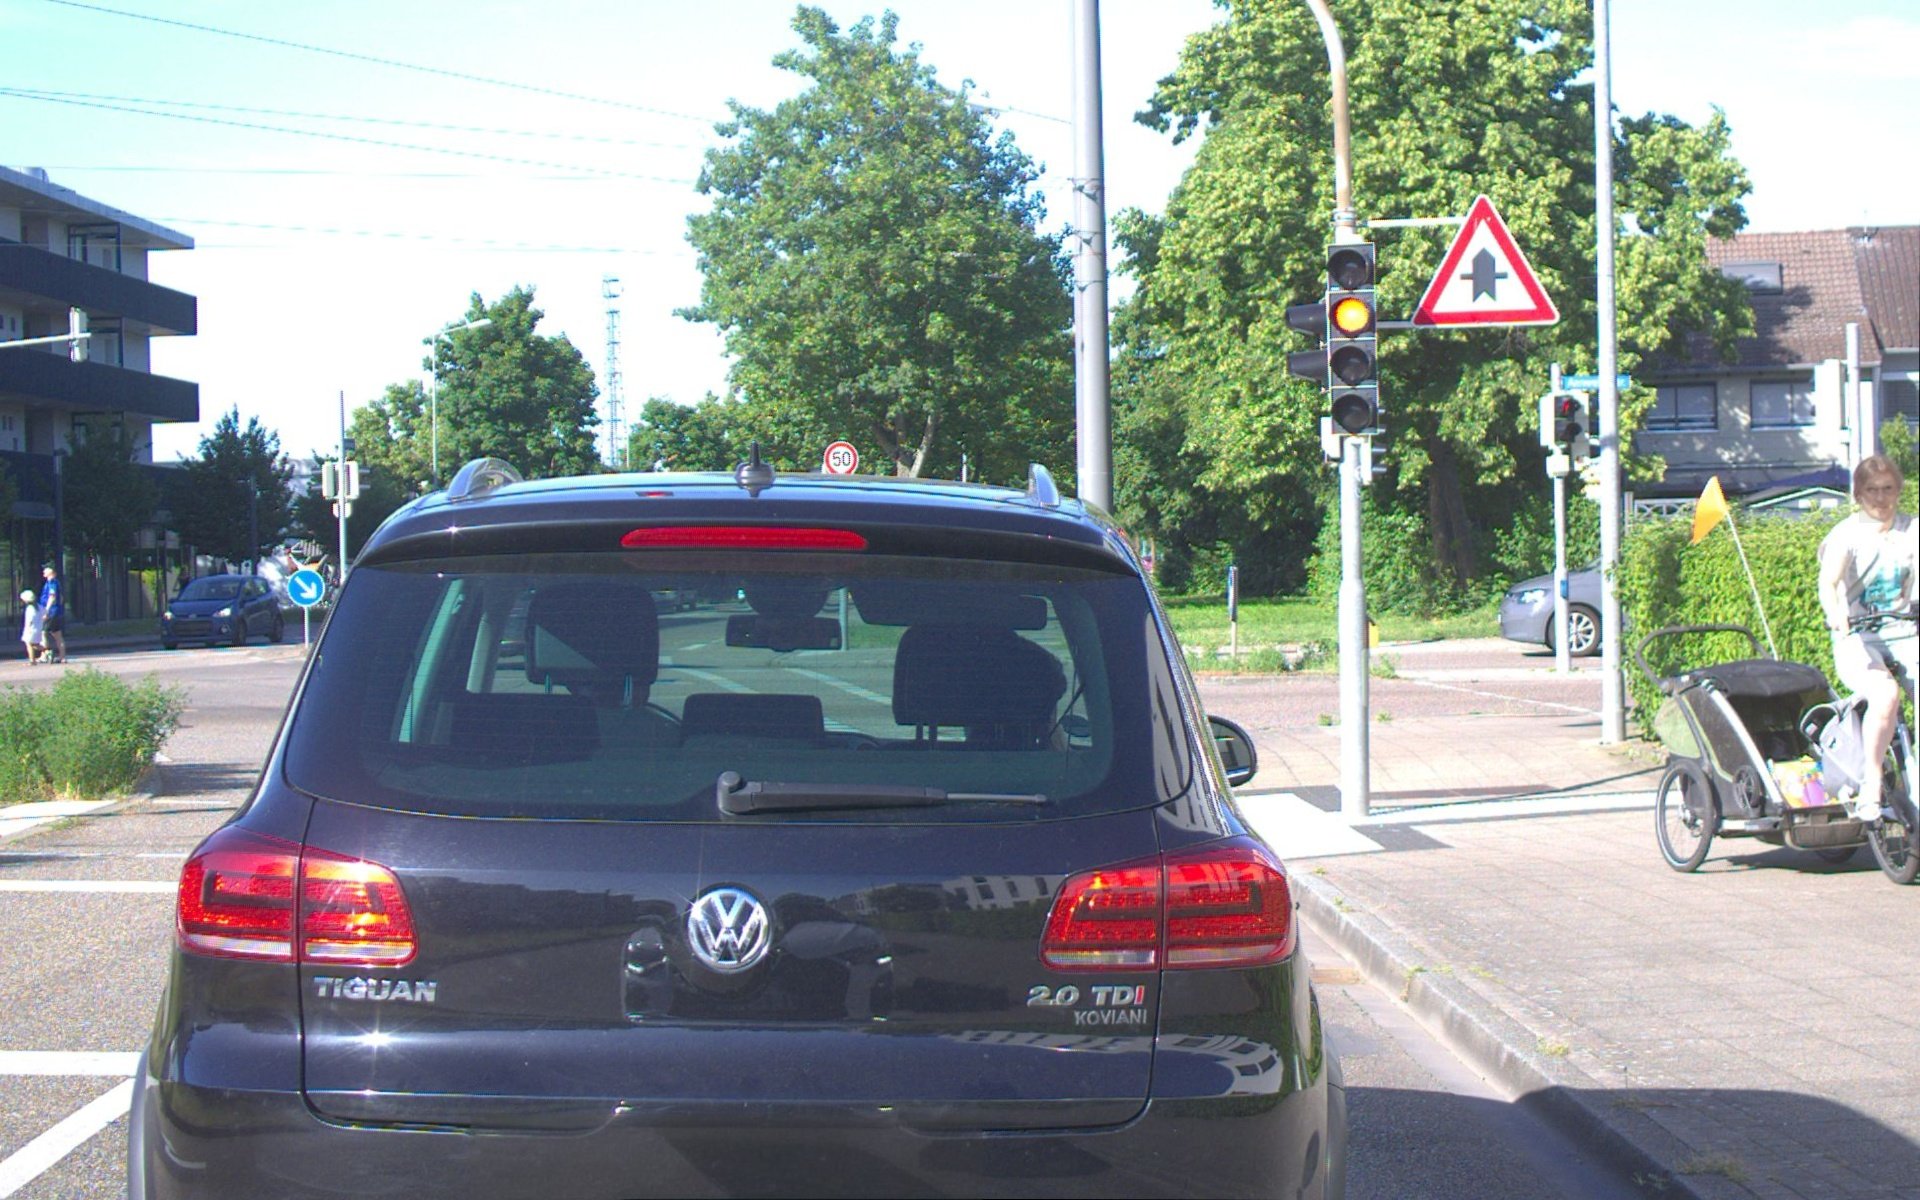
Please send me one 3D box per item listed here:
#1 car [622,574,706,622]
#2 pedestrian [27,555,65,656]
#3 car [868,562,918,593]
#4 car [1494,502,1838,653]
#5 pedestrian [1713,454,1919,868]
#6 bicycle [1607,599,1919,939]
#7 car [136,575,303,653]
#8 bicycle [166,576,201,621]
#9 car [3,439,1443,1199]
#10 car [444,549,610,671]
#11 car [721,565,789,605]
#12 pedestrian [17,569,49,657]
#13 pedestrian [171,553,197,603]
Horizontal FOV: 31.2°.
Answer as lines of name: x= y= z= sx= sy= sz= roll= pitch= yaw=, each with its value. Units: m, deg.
car: x=-10.035 y=-0.089 z=116.800 sx=1.994 sy=1.569 sz=4.338 roll=1 pitch=1 yaw=7
pedestrian: x=-15.882 y=0.099 z=59.737 sx=0.543 sy=1.738 sz=0.518 roll=1 pitch=0 yaw=-6
car: x=-3.497 y=-1.201 z=179.517 sx=1.994 sy=1.569 sz=4.338 roll=1 pitch=1 yaw=7
car: x=8.954 y=-0.287 z=43.879 sx=3.987 sy=1.830 sz=2.000 roll=1 pitch=0 yaw=2
pedestrian: x=3.618 y=0.224 z=13.739 sx=0.910 sy=1.588 sz=0.855 roll=-2 pitch=1 yaw=-8
bicycle: x=3.603 y=0.609 z=13.973 sx=0.928 sy=1.169 sz=3.126 roll=-2 pitch=1 yaw=-8
car: x=-15.643 y=0.273 z=72.849 sx=1.994 sy=1.569 sz=4.337 roll=1 pitch=1 yaw=9
bicycle: x=-23.743 y=-0.049 z=105.086 sx=0.630 sy=1.327 sz=1.913 roll=1 pitch=1 yaw=0
car: x=-0.336 y=0.598 z=6.499 sx=1.869 sy=1.632 sz=4.000 roll=1 pitch=1 yaw=-1
car: x=-6.277 y=0.120 z=50.241 sx=1.993 sy=1.678 sz=4.000 roll=1 pitch=1 yaw=-1
car: x=-8.399 y=-0.625 z=141.149 sx=1.994 sy=1.569 sz=4.338 roll=1 pitch=1 yaw=7
pedestrian: x=-15.951 y=0.222 z=59.163 sx=0.441 sy=1.498 sz=0.518 roll=1 pitch=0 yaw=-6
pedestrian: x=-23.729 y=-0.673 z=105.097 sx=0.642 sy=1.504 sz=0.596 roll=1 pitch=0 yaw=0
